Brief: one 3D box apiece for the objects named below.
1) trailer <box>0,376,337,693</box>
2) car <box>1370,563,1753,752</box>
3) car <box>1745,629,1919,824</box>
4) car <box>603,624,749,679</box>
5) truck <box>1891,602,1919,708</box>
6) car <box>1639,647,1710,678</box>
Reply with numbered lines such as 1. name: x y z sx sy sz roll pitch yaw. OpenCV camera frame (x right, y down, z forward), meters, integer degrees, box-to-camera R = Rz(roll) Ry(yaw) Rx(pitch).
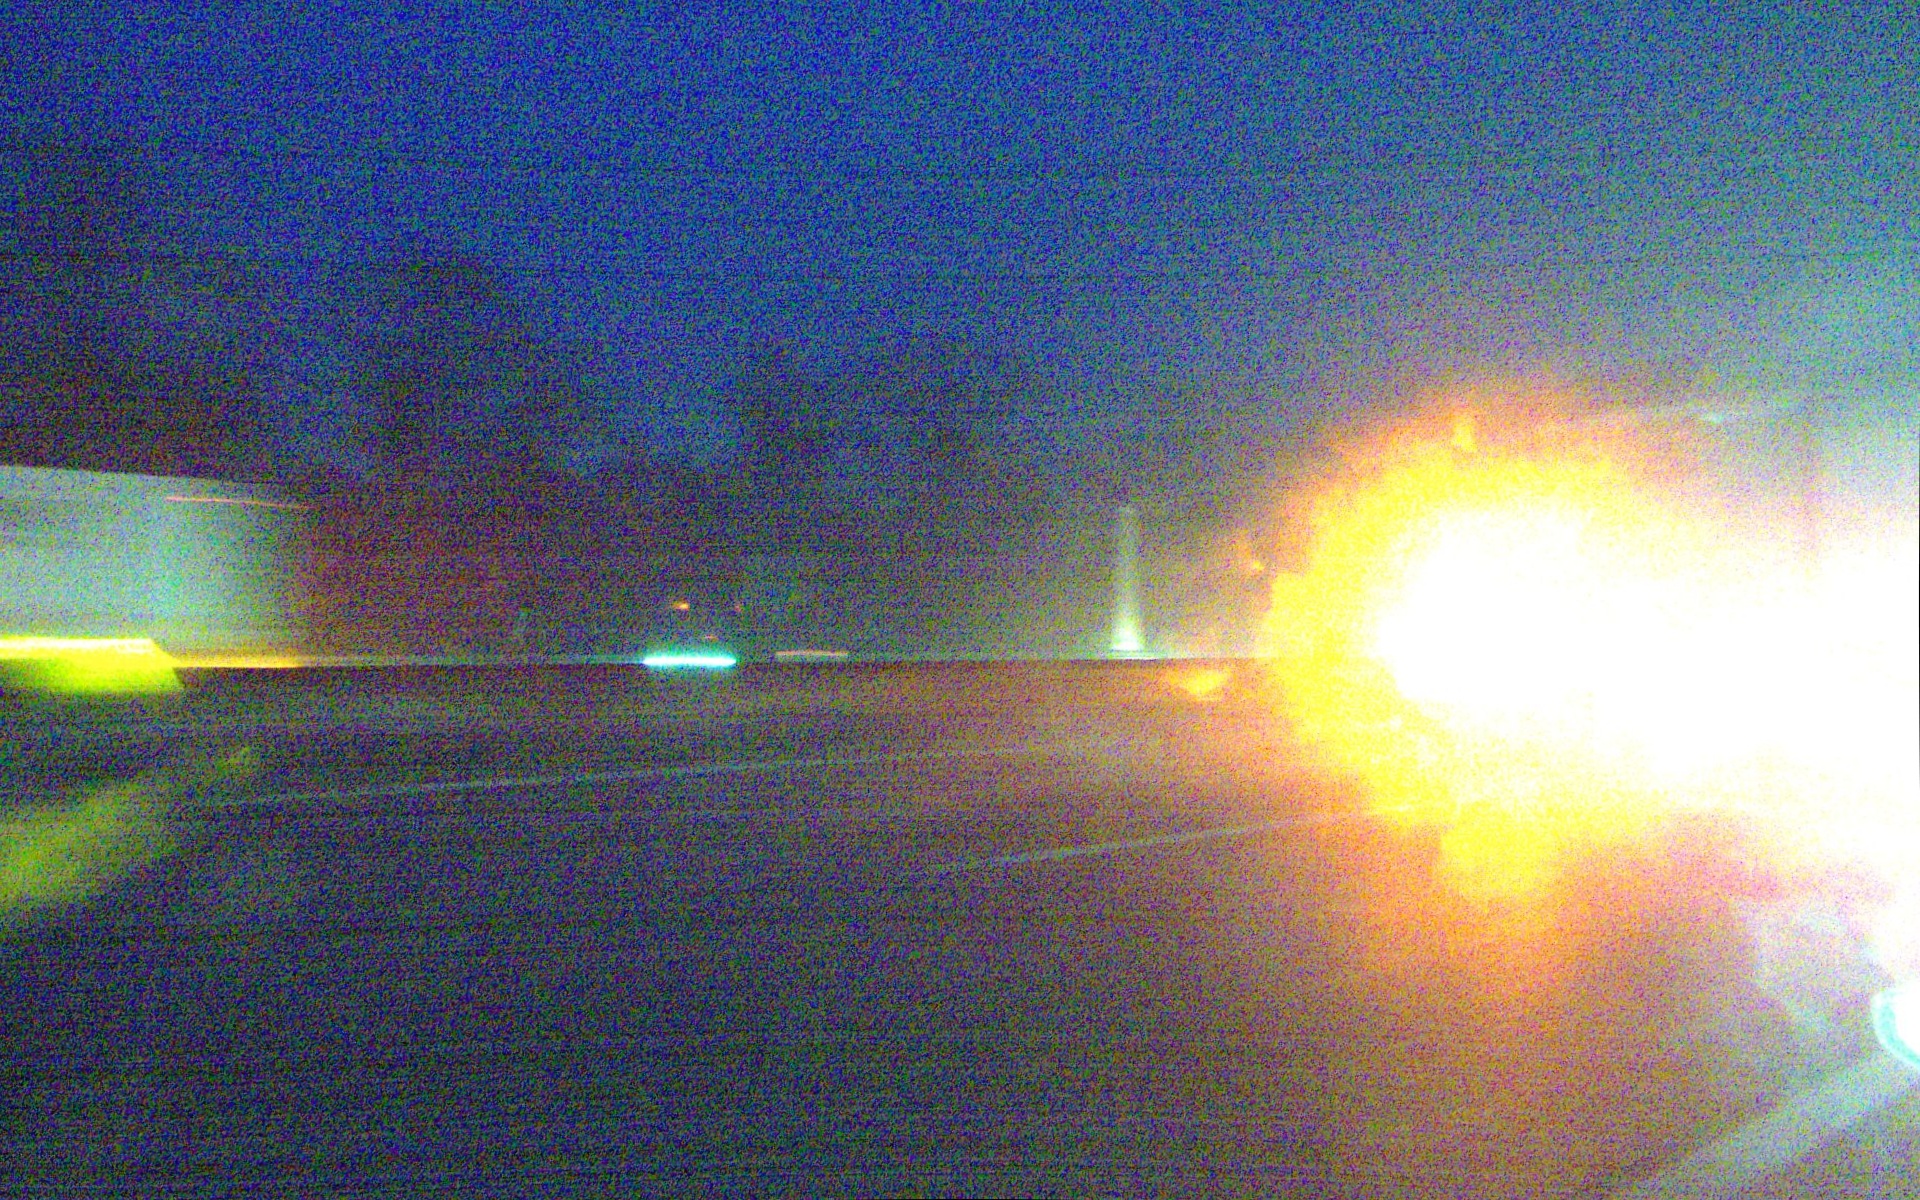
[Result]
1. trailer: -18.845 -1.147 16.254 14.630 5.094 3.770 2 -1 -31
2. car: 8.288 0.718 13.670 5.565 2.132 2.112 2 -1 -31
3. car: 8.865 1.008 9.084 4.203 1.450 1.646 1 -1 -35
4. car: -8.574 1.556 30.404 3.954 1.533 1.648 2 -1 -31
5. truck: 23.033 1.244 21.805 5.797 2.230 2.840 2 -1 -33
6. car: 39.858 3.472 56.033 3.954 1.593 1.791 2 -1 -31
